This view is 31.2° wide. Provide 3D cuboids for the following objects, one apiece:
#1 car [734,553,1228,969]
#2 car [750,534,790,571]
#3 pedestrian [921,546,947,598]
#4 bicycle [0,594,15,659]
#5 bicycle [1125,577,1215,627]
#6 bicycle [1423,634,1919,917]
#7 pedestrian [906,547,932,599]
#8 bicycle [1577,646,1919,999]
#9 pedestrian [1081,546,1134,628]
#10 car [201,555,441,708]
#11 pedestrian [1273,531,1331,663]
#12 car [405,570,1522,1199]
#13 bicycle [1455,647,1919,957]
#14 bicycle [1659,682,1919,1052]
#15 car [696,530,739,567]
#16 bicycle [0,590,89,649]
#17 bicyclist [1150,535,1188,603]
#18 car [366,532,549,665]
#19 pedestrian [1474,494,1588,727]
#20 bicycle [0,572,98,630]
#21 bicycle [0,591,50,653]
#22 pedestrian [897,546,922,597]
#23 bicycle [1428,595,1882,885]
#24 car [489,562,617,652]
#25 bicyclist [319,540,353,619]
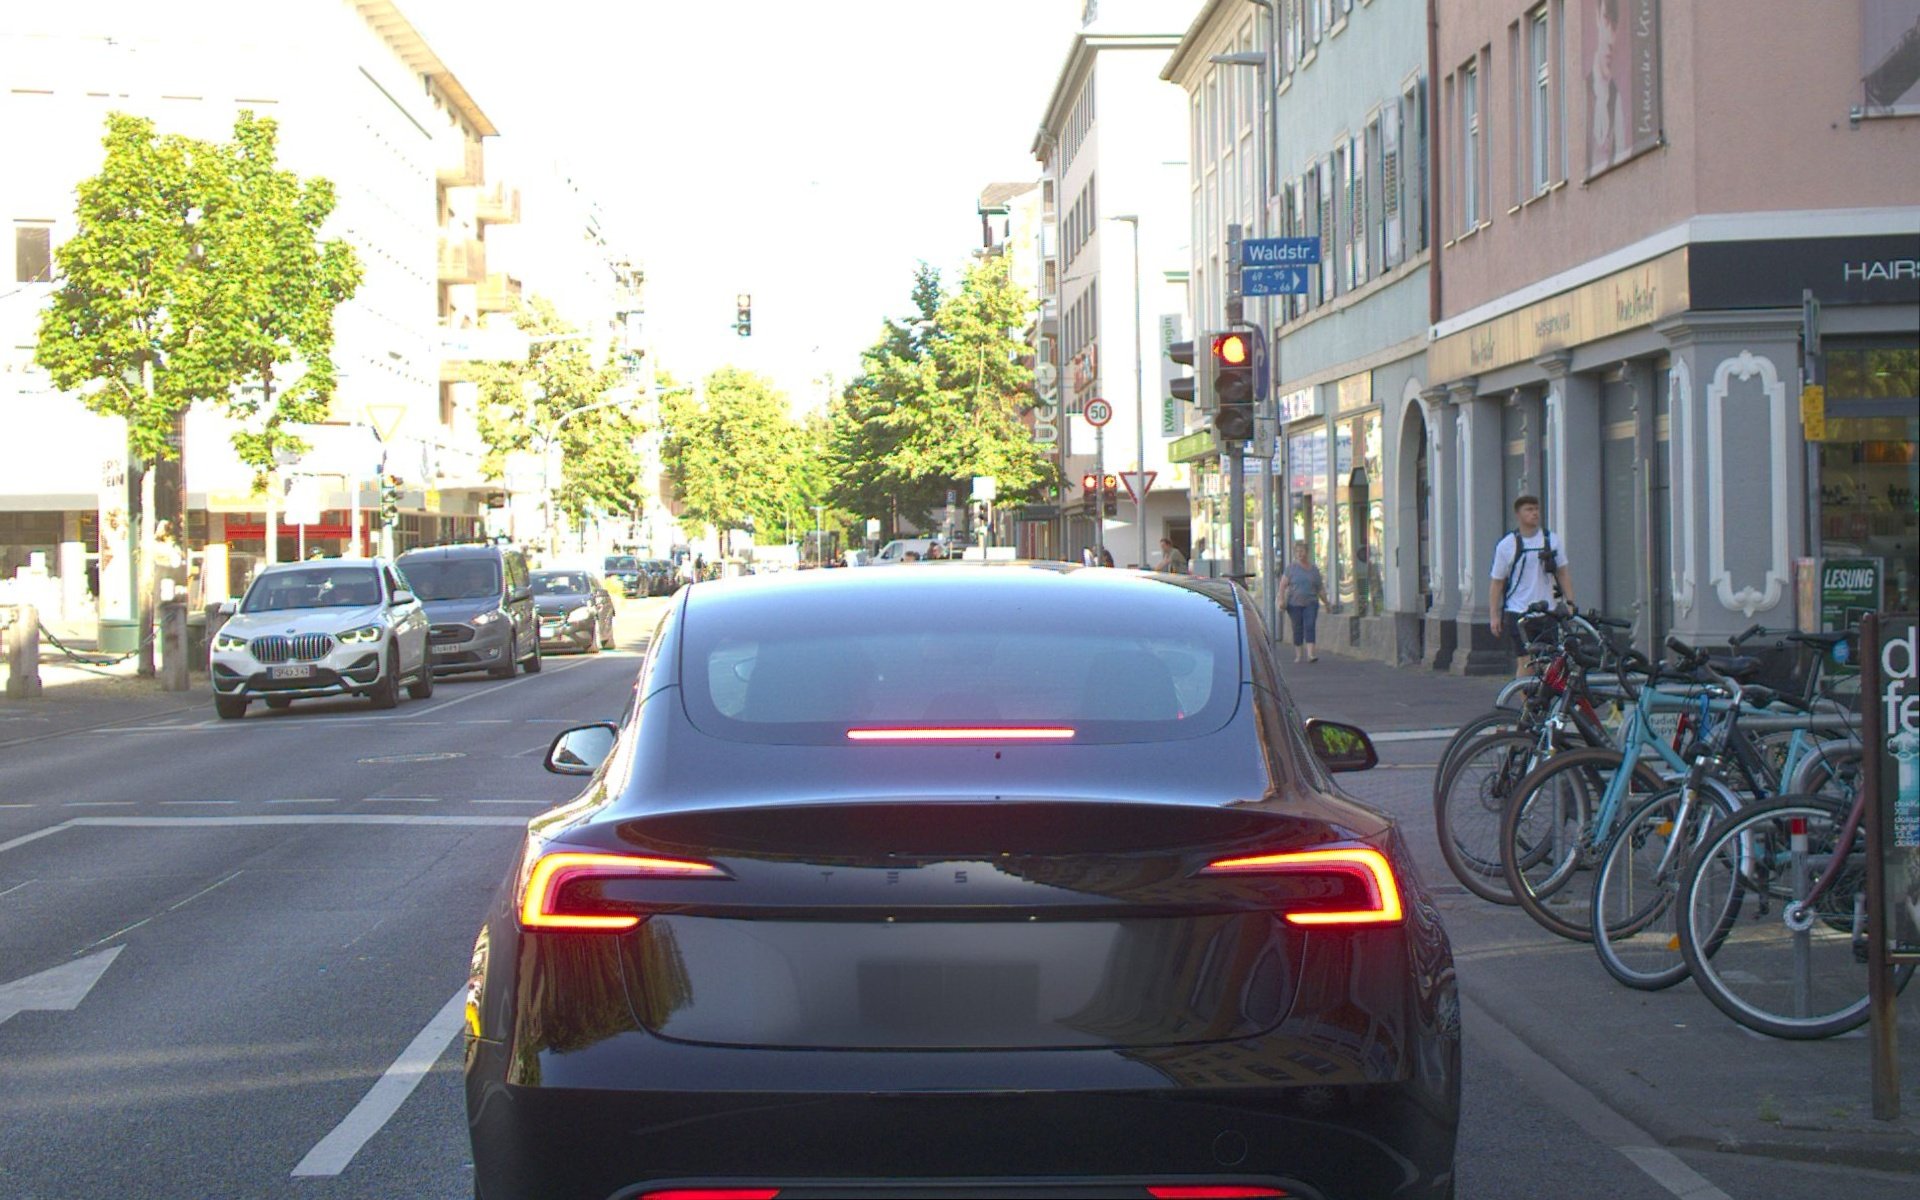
[{"bbox_3d":[0.007,0.534,13.833,1.718,1.420,3.758,0,1,-2],"label":"car"},{"bbox_3d":[-10.352,-2.586,187.161,1.993,2.007,4.000,0,1,-1],"label":"car"},{"bbox_3d":[-0.714,-0.776,94.695,0.521,1.417,0.479,1,0,-30],"label":"pedestrian"},{"bbox_3d":[-14.730,0.378,49.904,1.864,0.931,0.606,1,0,-1],"label":"bicycle"},{"bbox_3d":[4.363,0.036,71.366,1.784,1.003,0.472,1,0,-16],"label":"bicycle"},{"bbox_3d":[2.811,0.689,13.630,1.873,1.034,0.547,-2,0,5],"label":"bicycle"},{"bbox_3d":[-1.122,-0.738,93.966,0.521,1.417,0.479,1,0,-30],"label":"pedestrian"},{"bbox_3d":[2.991,0.702,11.157,1.873,1.084,0.414,-2,0,4],"label":"bicycle"},{"bbox_3d":[2.974,-0.259,69.272,0.754,1.626,0.956,1,0,-18],"label":"pedestrian"},{"bbox_3d":[-6.649,0.293,36.134,1.789,1.455,3.757,-2,1,0],"label":"car"},{"bbox_3d":[4.508,-0.044,45.389,0.706,1.736,0.540,0,1,-1],"label":"pedestrian"},{"bbox_3d":[-0.017,0.657,7.614,1.822,1.437,4.000,0,1,-1],"label":"car"},{"bbox_3d":[2.773,0.720,12.452,1.873,1.034,0.533,-2,0,4],"label":"bicycle"},{"bbox_3d":[3.016,0.755,9.992,1.873,1.034,0.353,-2,0,6],"label":"bicycle"},{"bbox_3d":[-10.071,-2.145,143.013,1.706,1.546,3.697,0,1,-3],"label":"car"},{"bbox_3d":[-14.836,0.307,54.587,1.864,0.931,0.606,0,1,-1],"label":"bicycle"},{"bbox_3d":[4.336,-0.647,71.357,0.669,1.390,0.462,1,0,-16],"label":"bicyclist"},{"bbox_3d":[-6.559,-0.038,45.257,1.787,1.640,4.403,1,1,-1],"label":"car"},{"bbox_3d":[4.416,0.078,26.615,0.750,1.759,0.836,-1,0,4],"label":"pedestrian"},{"bbox_3d":[-20.778,0.022,77.913,2.361,1.291,0.513,1,0,-26],"label":"bicycle"},{"bbox_3d":[-14.808,0.332,52.139,1.864,0.931,0.606,0,1,-1],"label":"bicycle"},{"bbox_3d":[-1.397,-0.782,94.810,0.472,1.412,0.522,1,0,-31],"label":"pedestrian"},{"bbox_3d":[2.960,0.592,14.749,1.828,1.165,0.505,-2,0,5],"label":"bicycle"},{"bbox_3d":[-6.791,0.092,57.622,1.715,1.441,3.845,1,1,-1],"label":"car"},{"bbox_3d":[-11.993,-0.396,66.073,0.522,1.498,0.476,1,0,-24],"label":"bicyclist"}]
